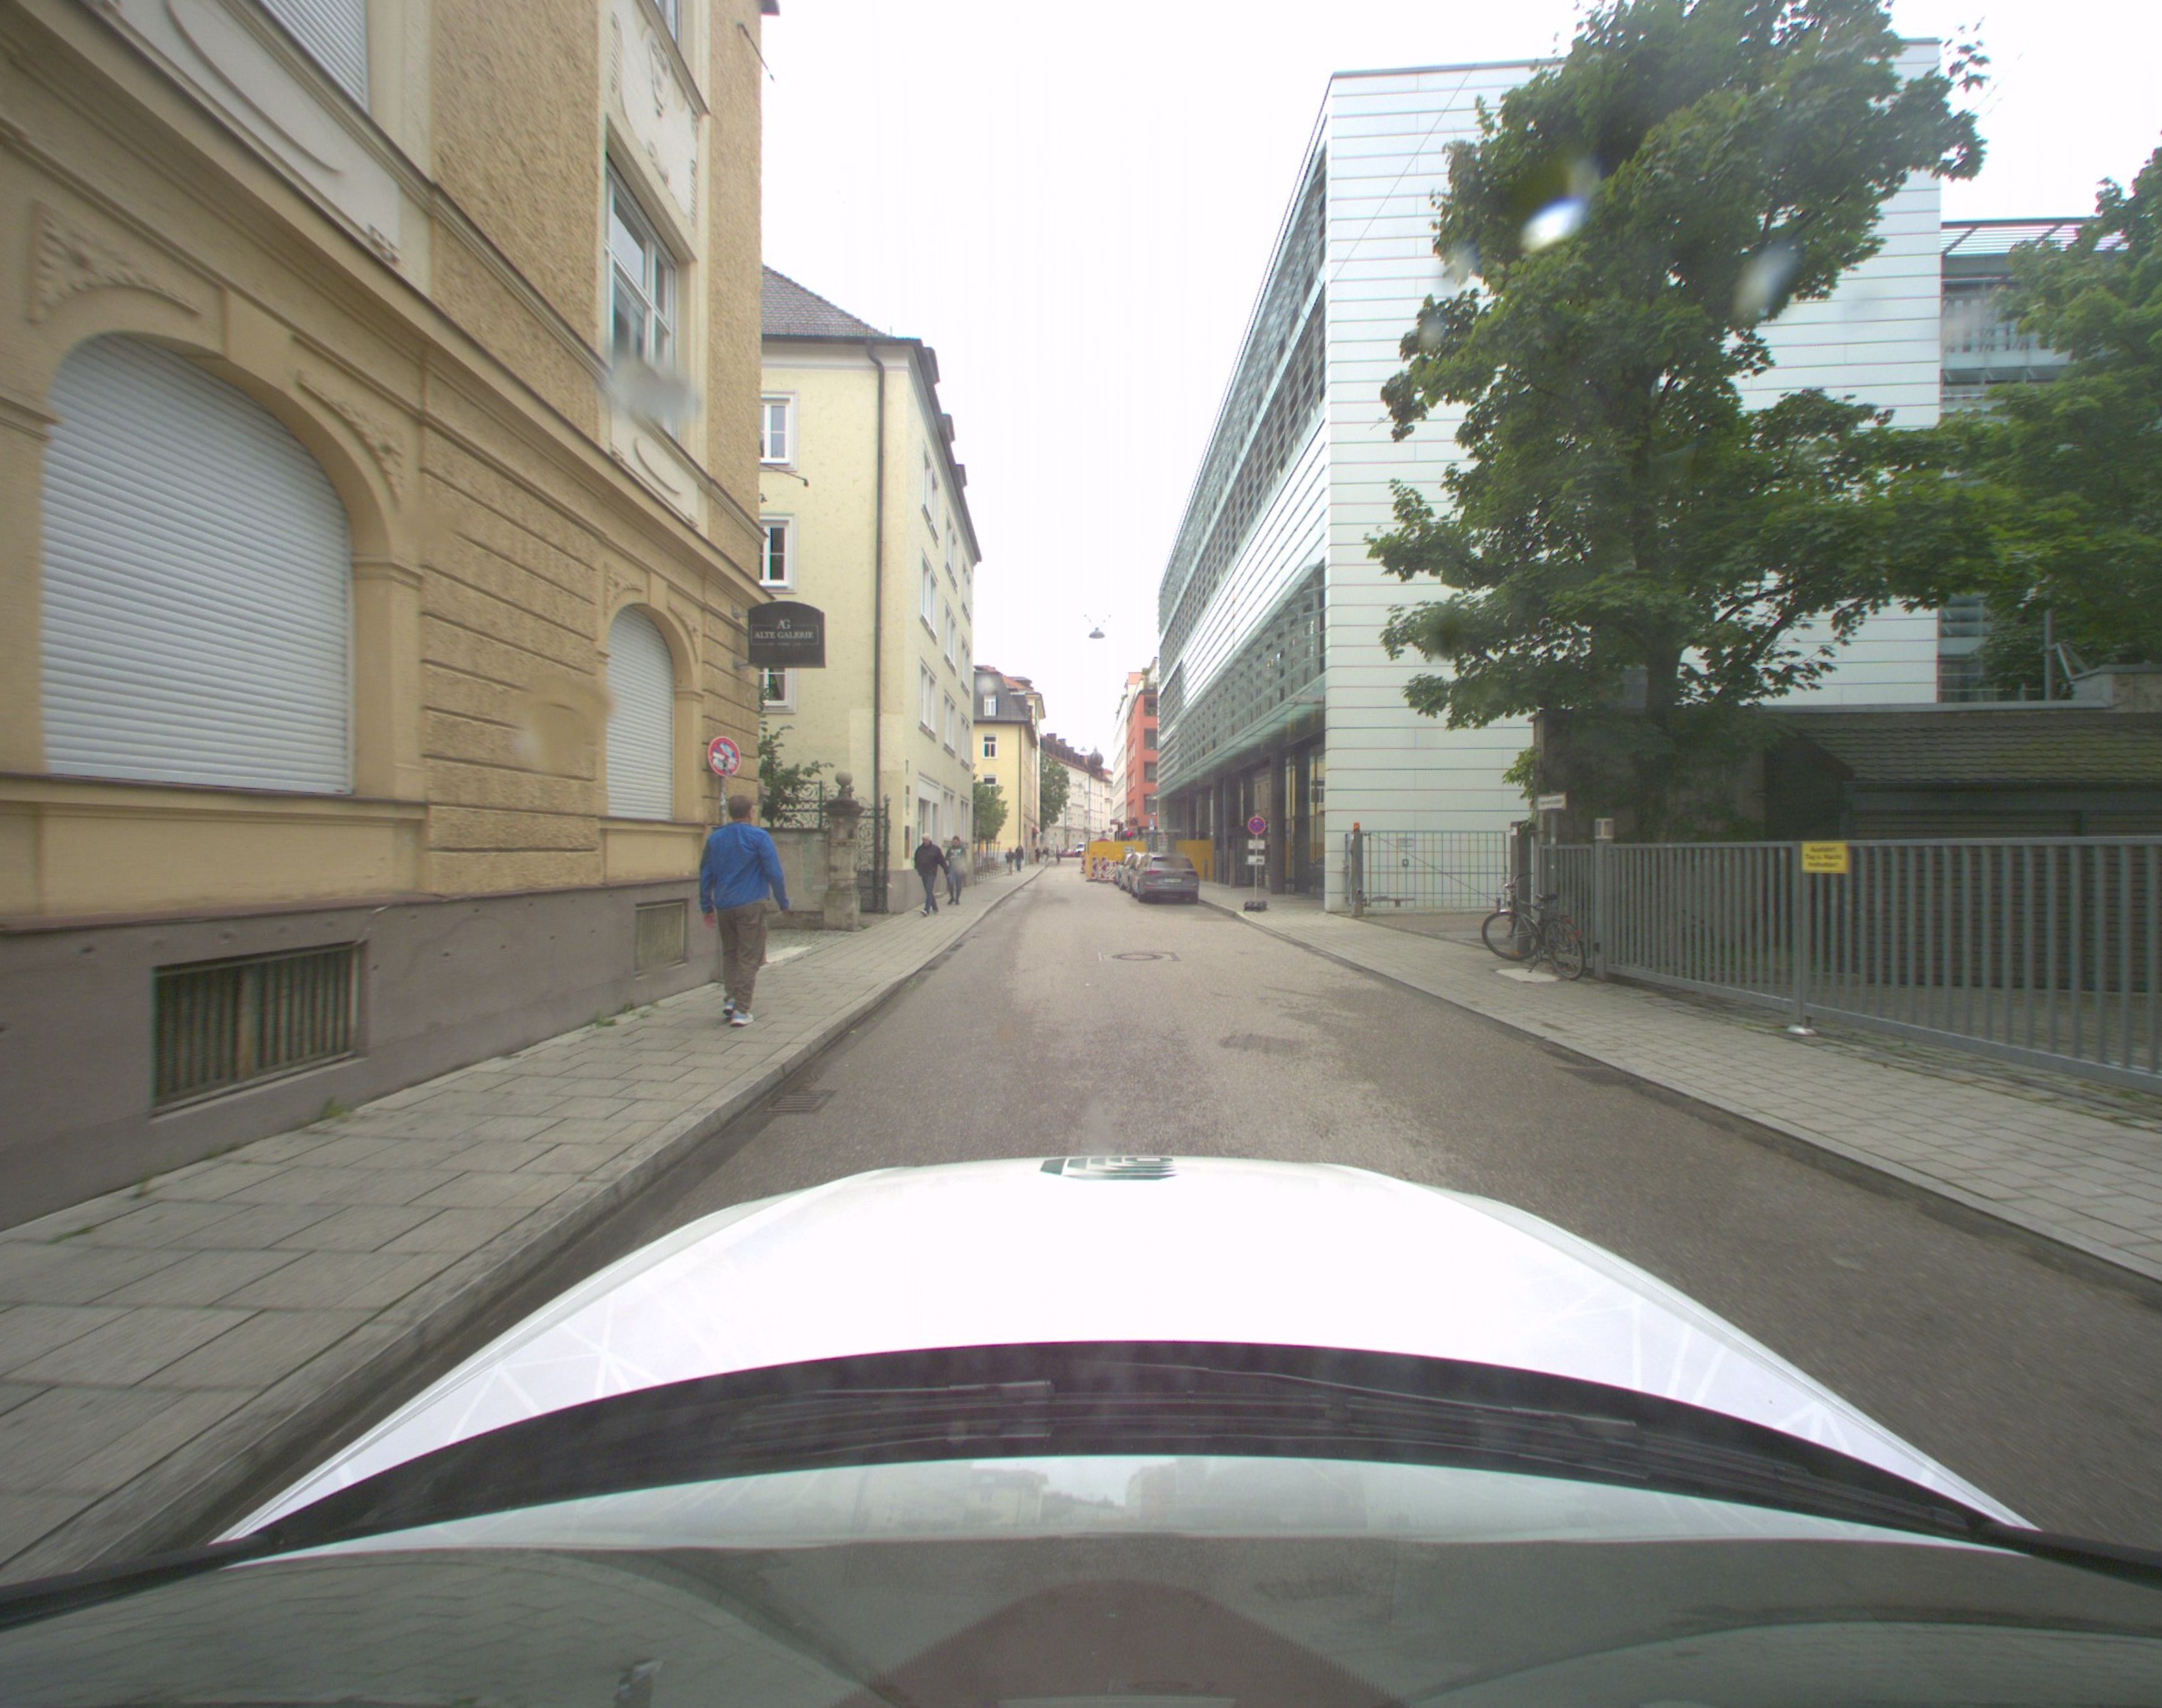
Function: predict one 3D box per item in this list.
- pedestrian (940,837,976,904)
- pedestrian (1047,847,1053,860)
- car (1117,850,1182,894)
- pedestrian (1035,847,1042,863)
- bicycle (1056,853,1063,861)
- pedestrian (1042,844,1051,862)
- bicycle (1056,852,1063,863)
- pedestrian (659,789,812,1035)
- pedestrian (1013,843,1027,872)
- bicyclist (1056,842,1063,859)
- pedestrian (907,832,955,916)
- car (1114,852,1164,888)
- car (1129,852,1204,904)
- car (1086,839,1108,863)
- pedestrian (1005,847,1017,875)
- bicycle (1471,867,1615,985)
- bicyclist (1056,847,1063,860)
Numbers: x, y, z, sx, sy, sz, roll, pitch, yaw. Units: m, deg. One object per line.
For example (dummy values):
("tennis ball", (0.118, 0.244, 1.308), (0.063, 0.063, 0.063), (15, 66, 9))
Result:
("pedestrian", (-3.141, 0.412, 20.874), (0.710, 1.666, 0.929), (3, 0, -1))
("pedestrian", (-3.959, -0.063, 104.110), (0.633, 1.675, 0.517), (1, 0, -2))
("car", (2.453, 0.637, 30.202), (1.704, 1.467, 4.230), (2, 0, -4))
("pedestrian", (-4.260, 0.099, 81.497), (0.668, 1.648, 0.761), (1, 0, -2))
("bicycle", (-2.267, 0.314, 85.162), (0.706, 0.905, 1.808), (0, 0, -1))
("pedestrian", (-3.456, -0.099, 81.264), (0.837, 1.700, 0.802), (1, 0, -2))
("bicycle", (-2.152, 0.338, 81.143), (0.659, 1.039, 2.003), (0, 0, -1))
("pedestrian", (-2.807, 0.442, 6.739), (0.755, 1.854, 1.076), (2, 0, -1))
("pedestrian", (-4.047, 0.250, 54.210), (0.865, 1.881, 1.134), (1, 0, -2))
("bicyclist", (-2.154, -0.372, 81.058), (0.658, 1.643, 0.895), (0, 0, -2))
("pedestrian", (-3.338, 0.437, 18.231), (0.903, 1.827, 0.955), (1, 0, -2))
("car", (2.461, 0.674, 35.362), (1.703, 1.414, 4.507), (2, 0, -1))
("car", (2.523, 0.670, 24.910), (1.703, 1.432, 4.326), (0, 0, -2))
("car", (1.692, -0.345, 87.461), (1.988, 2.536, 4.971), (1, 0, -2))
("pedestrian", (-4.108, 0.406, 48.003), (0.645, 1.676, 0.723), (1, 0, -2))
("bicycle", (5.584, 0.819, 9.993), (0.705, 1.198, 1.834), (0, 3, 0))
("bicyclist", (-2.266, -0.083, 85.180), (0.706, 1.371, 0.813), (0, 0, -2))
